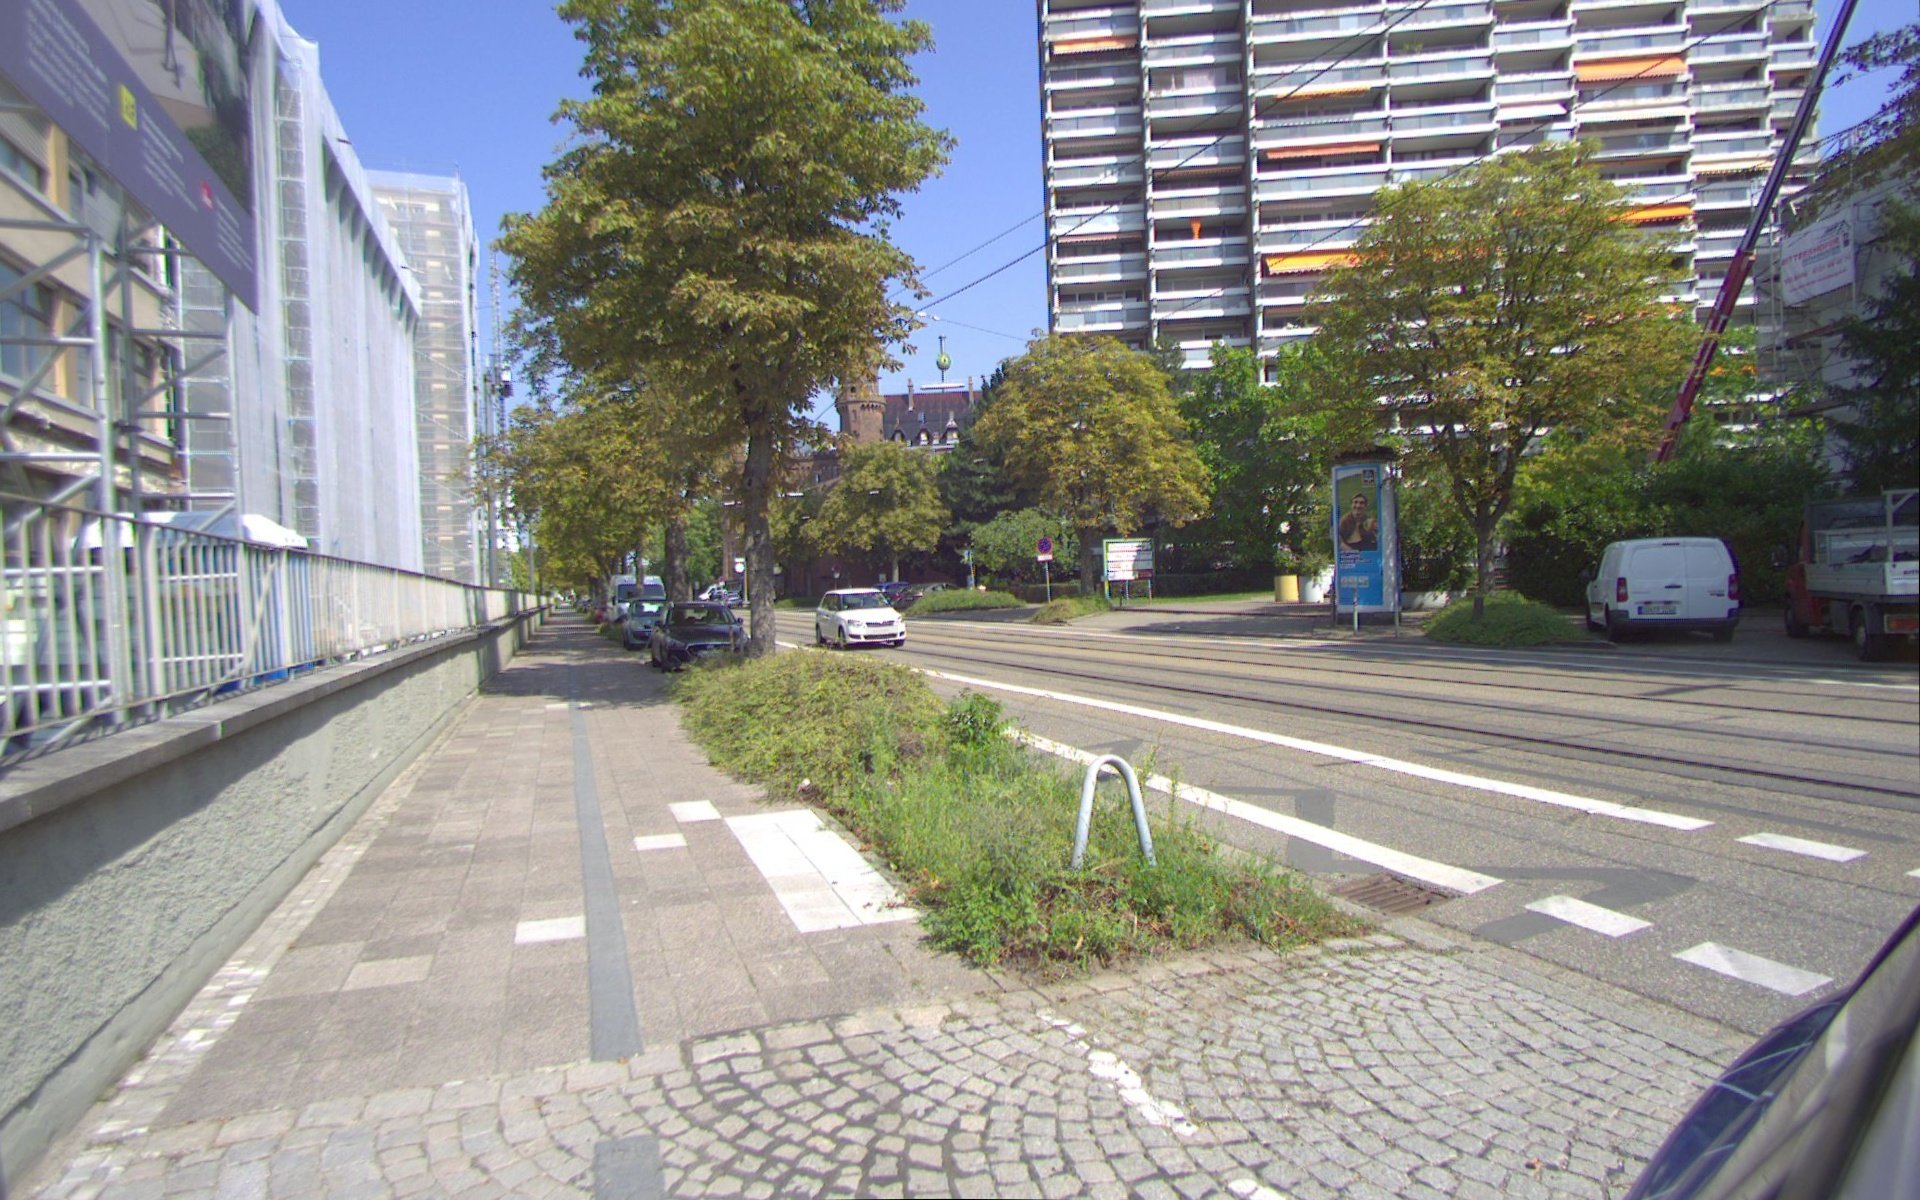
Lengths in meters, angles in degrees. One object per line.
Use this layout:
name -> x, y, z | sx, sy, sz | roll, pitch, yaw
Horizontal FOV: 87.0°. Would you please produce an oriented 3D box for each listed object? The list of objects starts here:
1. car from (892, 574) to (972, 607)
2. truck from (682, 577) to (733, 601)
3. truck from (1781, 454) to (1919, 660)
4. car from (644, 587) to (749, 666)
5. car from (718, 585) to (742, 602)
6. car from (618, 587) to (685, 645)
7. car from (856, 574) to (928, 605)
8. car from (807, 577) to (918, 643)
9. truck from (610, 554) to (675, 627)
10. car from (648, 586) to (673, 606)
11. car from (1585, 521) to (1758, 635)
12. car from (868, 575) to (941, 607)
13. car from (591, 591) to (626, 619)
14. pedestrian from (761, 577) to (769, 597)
car -> -1.443, -0.512, 54.008 | 1.774, 1.515, 4.232 | -2, 2, 42
truck -> -34.690, -1.536, 139.022 | 6.385, 2.554, 2.322 | -7, 2, -21
truck -> 13.629, -0.672, 14.300 | 2.132, 2.464, 5.910 | -1, 2, 29
car -> -5.760, 0.487, 21.761 | 1.644, 1.476, 4.673 | -2, 1, -21
car -> -23.344, -0.673, 102.552 | 1.901, 1.520, 4.524 | -3, 1, -19
car -> -9.556, 0.431, 31.164 | 1.644, 1.599, 4.180 | -1, 1, -21
car -> -4.001, -0.630, 60.008 | 3.936, 1.668, 1.837 | -4, 2, -44
car -> -2.627, 0.214, 26.353 | 1.788, 1.510, 4.027 | -3, 2, -21
truck -> -12.681, -0.384, 40.188 | 1.883, 2.631, 5.603 | -3, 2, -22
car -> -24.147, -0.356, 81.563 | 1.643, 1.504, 3.786 | -2, 2, -21
car -> 12.680, -0.407, 18.319 | 1.806, 1.794, 4.249 | -1, 1, 25
car -> -3.085, -0.543, 56.601 | 1.773, 1.589, 3.941 | -2, 2, 42
car -> -20.633, 0.261, 59.339 | 1.656, 1.519, 4.140 | -3, 2, -22
pedestrian -> -20.159, -1.373, 104.764 | 0.499, 2.005, 0.515 | -2, 1, 23
